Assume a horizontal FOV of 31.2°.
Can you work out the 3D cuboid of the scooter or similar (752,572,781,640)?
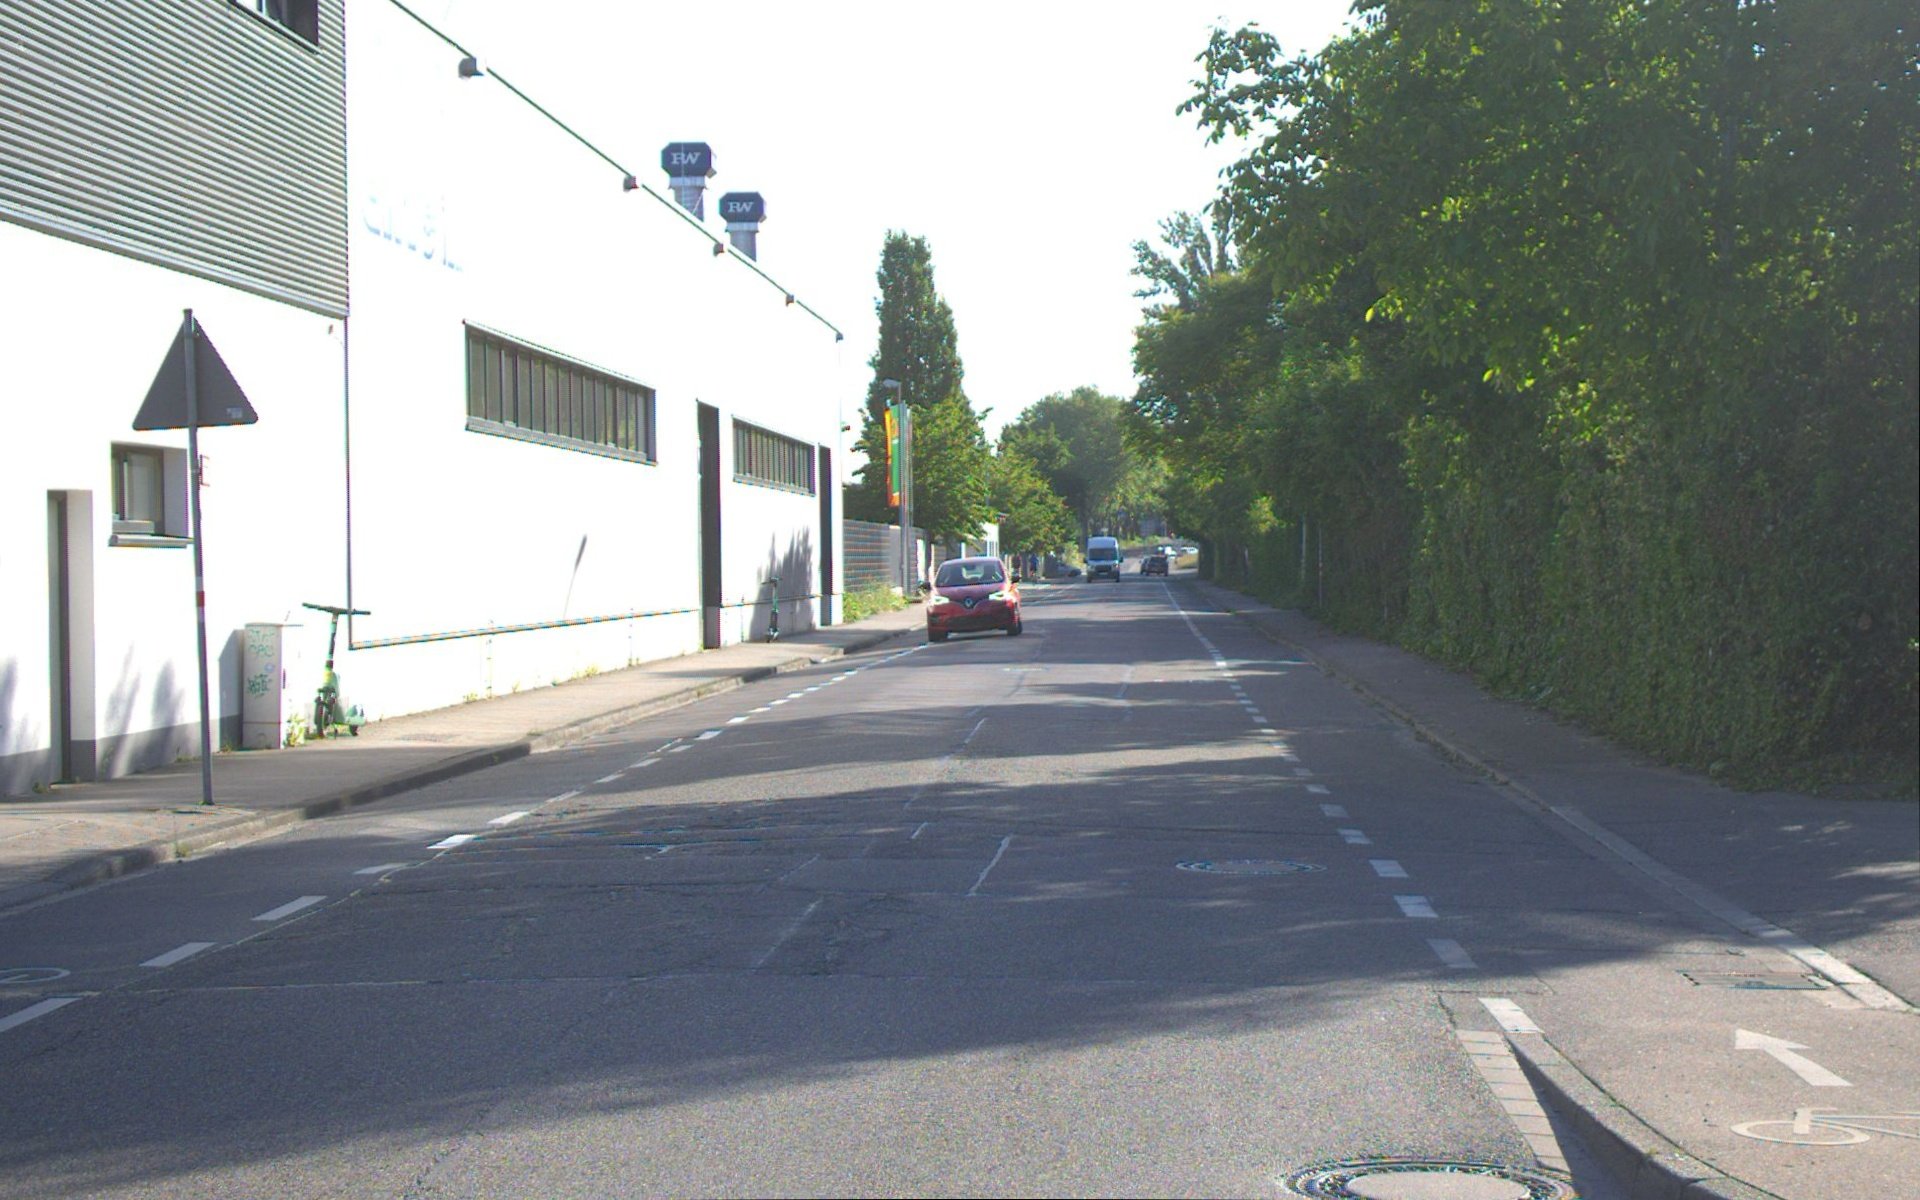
[{"bbox_3d":[-3.646,0.112,64.724,0.416,1.263,1.059,0,1,3],"label":"scooter or similar"}]

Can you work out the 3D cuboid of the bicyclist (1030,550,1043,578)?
[{"bbox_3d":[4.244,-2.007,190.705,0.689,1.526,0.722,1,1,3],"label":"bicyclist"}]

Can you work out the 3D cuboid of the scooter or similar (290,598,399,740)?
[{"bbox_3d":[-5.491,0.598,30.742,0.507,1.199,1.753,3,1,3],"label":"scooter or similar"}]

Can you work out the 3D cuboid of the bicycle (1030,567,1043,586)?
[{"bbox_3d":[4.234,-1.325,190.681,0.689,1.030,1.351,1,1,3],"label":"bicycle"}]

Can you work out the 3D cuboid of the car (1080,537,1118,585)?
[{"bbox_3d":[8.506,-2.387,209.793,2.123,2.771,5.926,-3,0,3],"label":"car"}]

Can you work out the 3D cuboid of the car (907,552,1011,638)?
[{"bbox_3d":[0.010,-0.116,66.575,1.818,1.484,4.000,-4,0,2],"label":"car"}]
